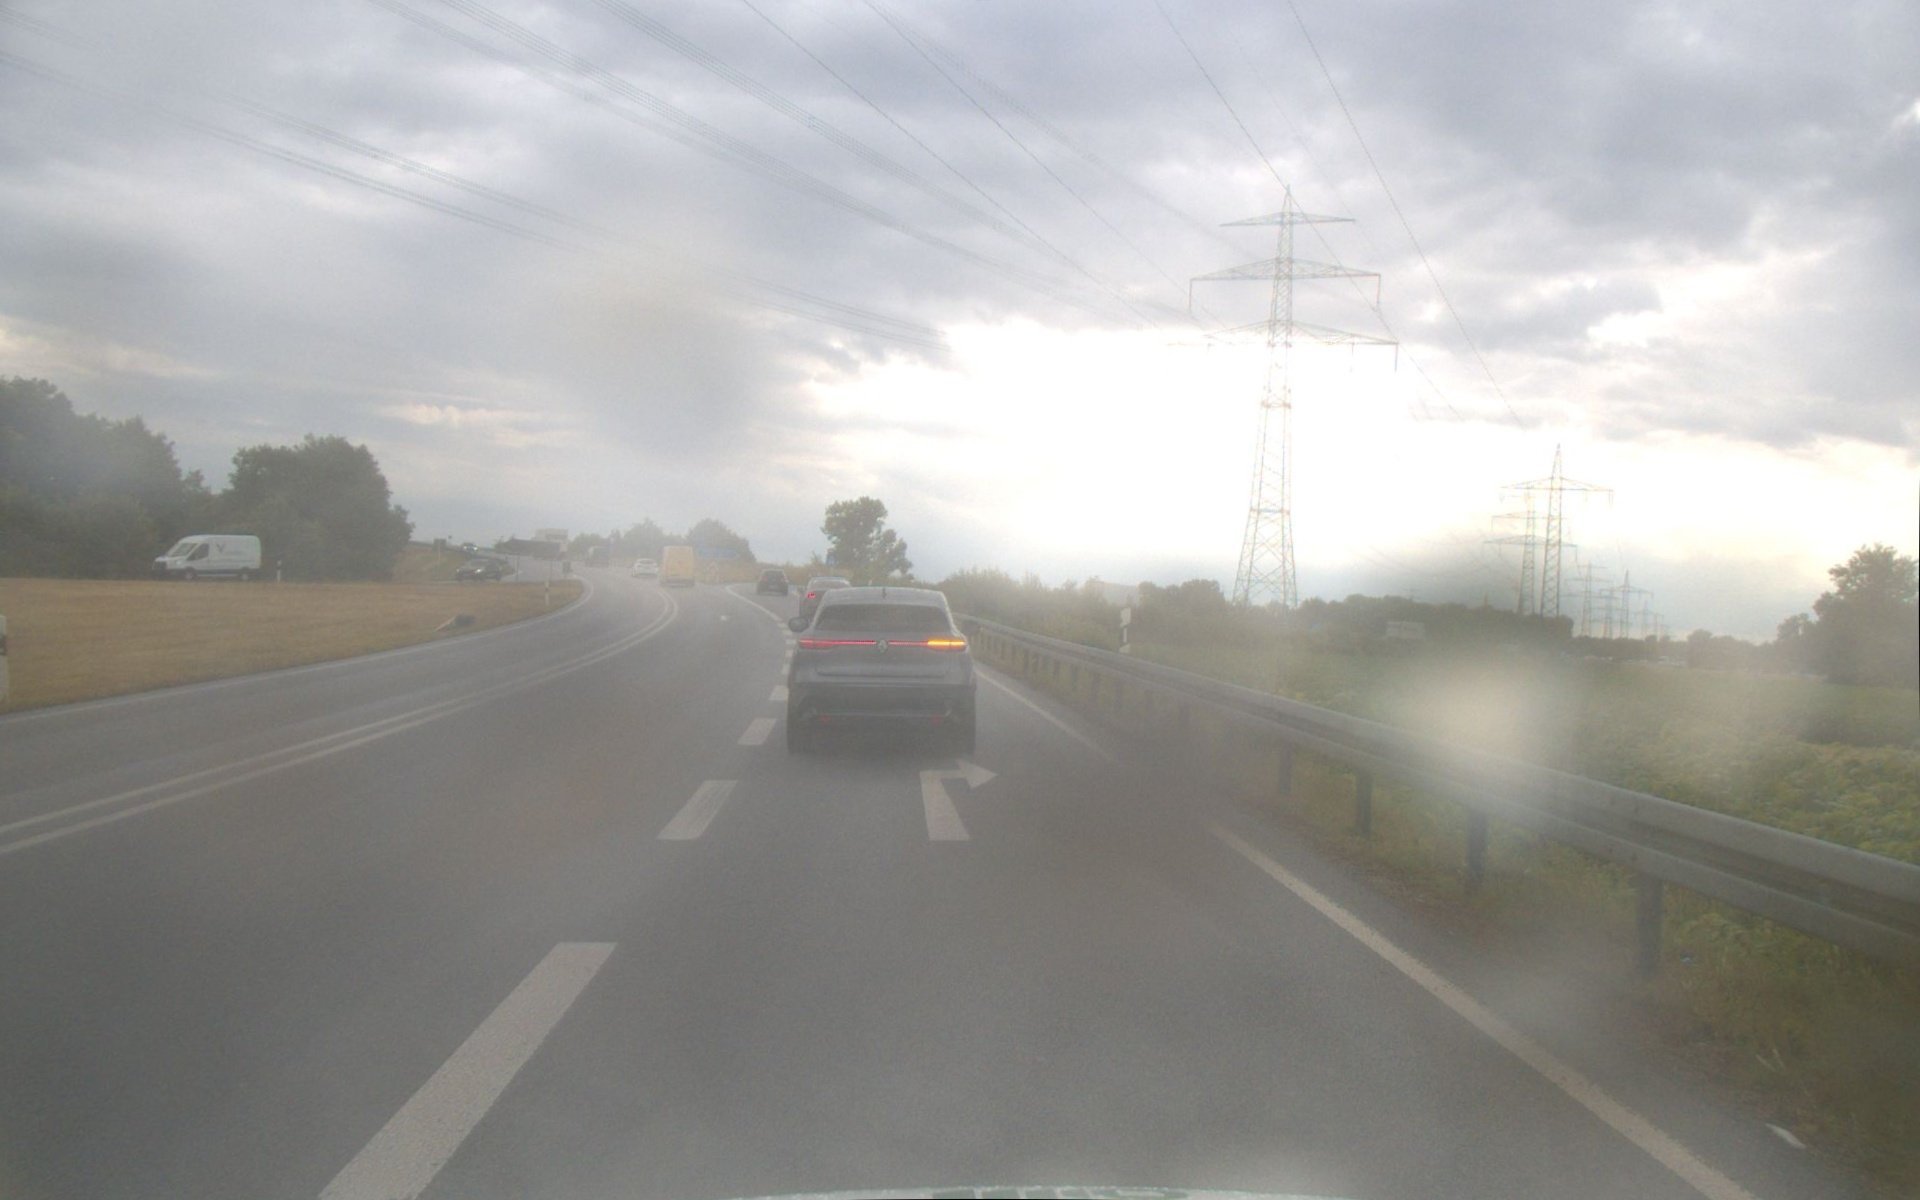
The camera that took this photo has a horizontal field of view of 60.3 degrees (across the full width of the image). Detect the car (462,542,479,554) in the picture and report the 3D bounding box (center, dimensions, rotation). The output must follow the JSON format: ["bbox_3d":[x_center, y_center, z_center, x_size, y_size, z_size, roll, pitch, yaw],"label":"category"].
[{"bbox_3d":[-59.996,-6.354,202.562,1.719,1.389,4.025,-2,1,-20],"label":"car"}]

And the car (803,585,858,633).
[{"bbox_3d":[-4.500,0.283,57.433,1.756,1.466,3.997,4,1,-5],"label":"car"}]

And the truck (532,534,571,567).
[{"bbox_3d":[-47.402,-5.735,191.811,3.006,3.444,7.586,2,-1,-24],"label":"truck"}]

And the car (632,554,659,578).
[{"bbox_3d":[-24.630,-2.676,129.351,1.762,1.717,3.984,2,1,-15],"label":"car"}]

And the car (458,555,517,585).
[{"bbox_3d":[-30.522,-1.931,106.985,1.939,1.632,3.919,3,-1,13],"label":"car"}]

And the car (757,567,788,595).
[{"bbox_3d":[-10.835,-1.097,95.654,1.757,1.568,3.995,1,1,-6],"label":"car"}]

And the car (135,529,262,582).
[{"bbox_3d":[-38.725,-2.231,84.275,2.389,2.433,5.458,1,-1,30],"label":"car"}]

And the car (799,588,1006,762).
[{"bbox_3d":[-0.634,0.649,16.240,1.756,1.466,3.997,1,0,-4],"label":"car"}]

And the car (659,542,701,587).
[{"bbox_3d":[-18.301,-2.321,107.975,2.527,2.772,7.178,1,1,-11],"label":"car"}]

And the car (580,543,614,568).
[{"bbox_3d":[-36.843,-4.447,167.624,2.565,2.290,5.500,2,-1,-21],"label":"car"}]
